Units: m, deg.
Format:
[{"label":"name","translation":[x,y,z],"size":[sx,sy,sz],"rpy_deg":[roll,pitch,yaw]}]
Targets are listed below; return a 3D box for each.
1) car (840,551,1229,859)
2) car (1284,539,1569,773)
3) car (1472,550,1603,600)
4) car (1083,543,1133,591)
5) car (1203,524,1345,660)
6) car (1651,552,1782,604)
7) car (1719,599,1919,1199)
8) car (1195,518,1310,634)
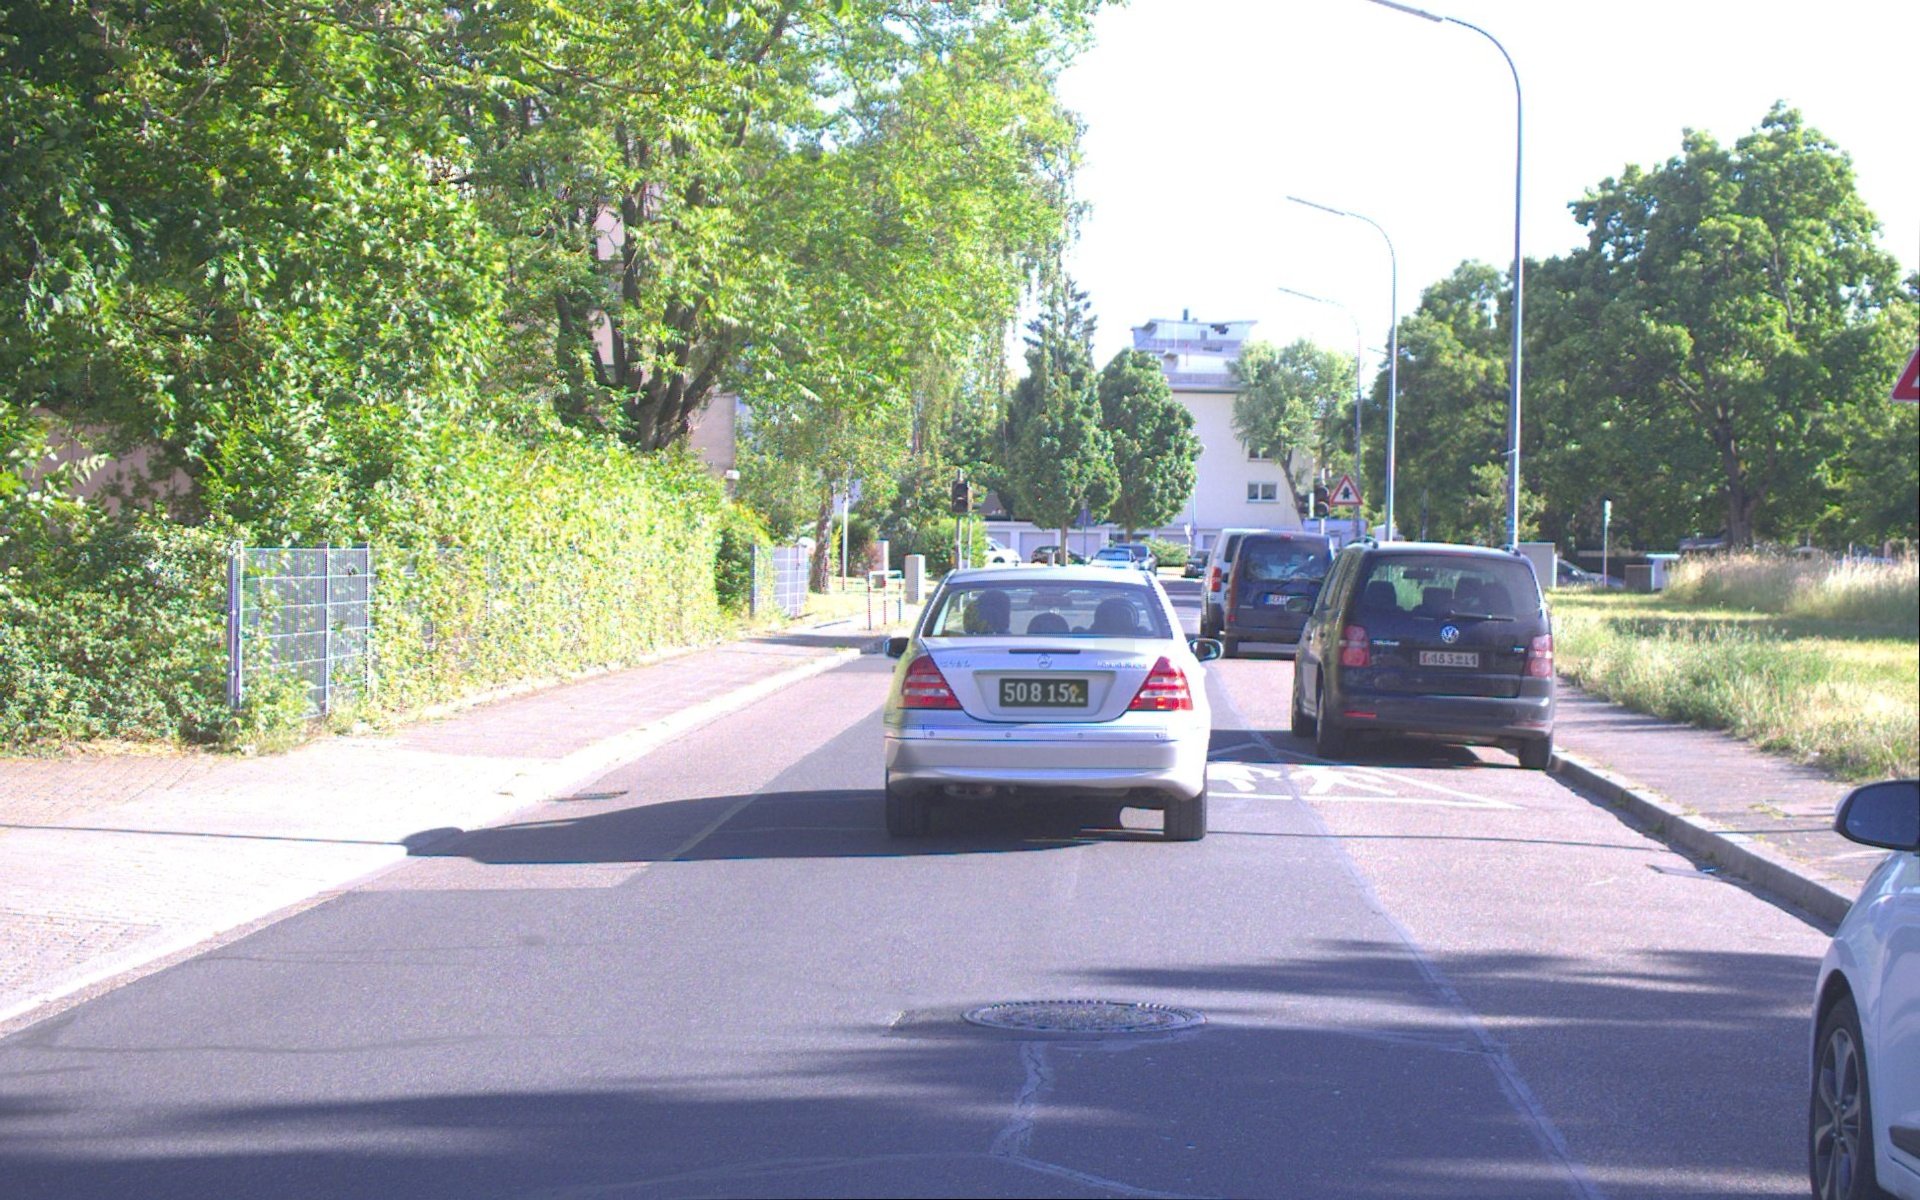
[{"label":"car","translation":[0.531,0.486,19.131],"size":[1.816,1.458,4.360],"rpy_deg":[0,1,6]},{"label":"car","translation":[3.542,0.370,26.702],"size":[1.698,1.605,4.000],"rpy_deg":[2,1,1]},{"label":"car","translation":[17.631,-0.764,104.983],"size":[3.706,1.436,1.698],"rpy_deg":[1,-1,18]},{"label":"car","translation":[5.765,-1.280,133.915],"size":[1.885,1.722,3.999],"rpy_deg":[1,-1,2]},{"label":"car","translation":[4.400,-0.146,48.580],"size":[1.698,1.753,3.850],"rpy_deg":[3,1,2]},{"label":"car","translation":[22.832,-0.667,103.766],"size":[3.706,1.466,1.698],"rpy_deg":[1,-1,18]},{"label":"car","translation":[2.736,0.798,6.555],"size":[1.722,1.474,3.740],"rpy_deg":[3,1,1]},{"label":"car","translation":[4.980,-0.444,58.918],"size":[1.698,1.845,3.850],"rpy_deg":[3,1,2]}]
